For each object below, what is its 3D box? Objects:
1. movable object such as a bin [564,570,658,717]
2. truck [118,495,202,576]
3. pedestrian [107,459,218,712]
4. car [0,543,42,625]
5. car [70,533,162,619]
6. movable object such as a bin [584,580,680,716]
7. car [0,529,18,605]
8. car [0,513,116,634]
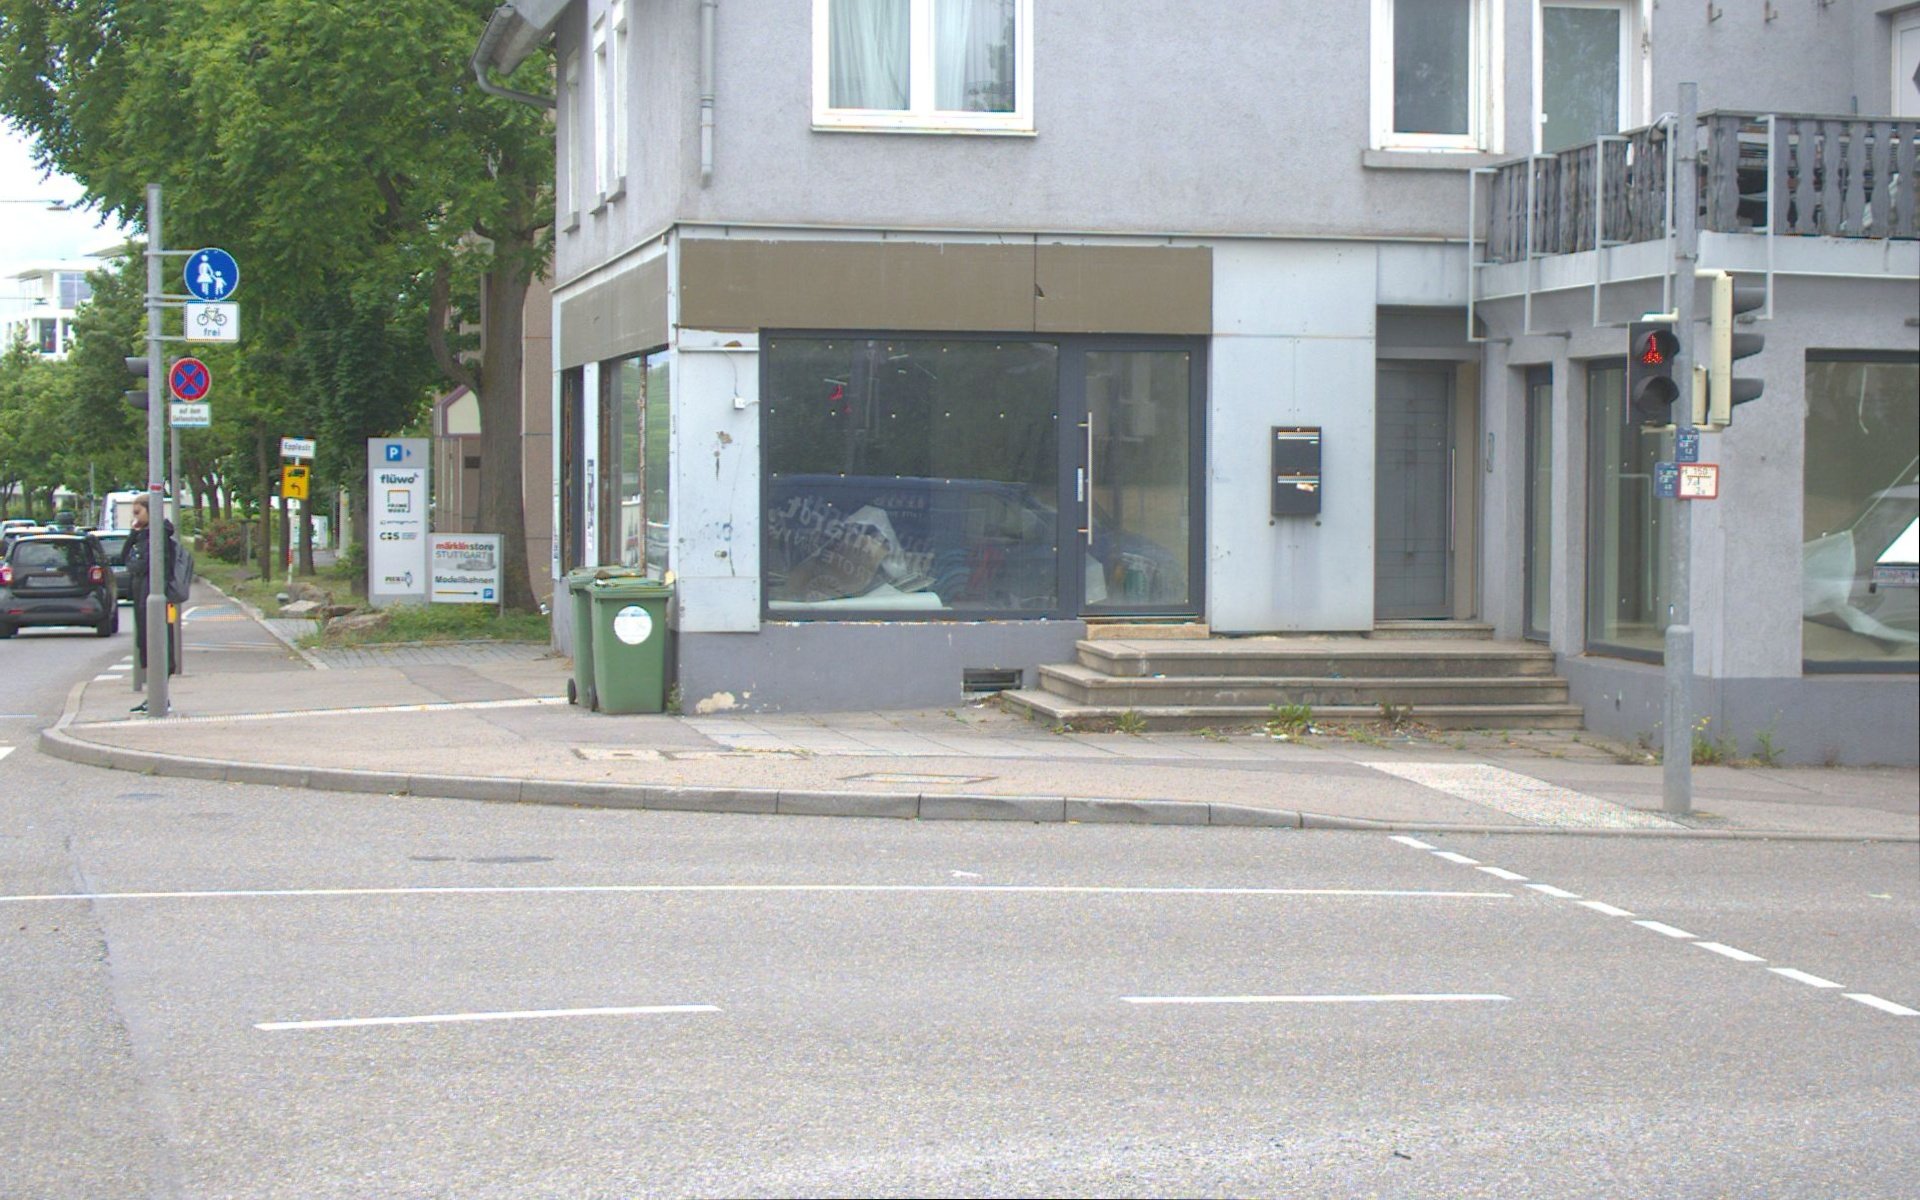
[{"bbox_3d":[-2.651,0.323,26.103,0.597,1.097,0.573,0,1,-18],"label":"movable object such as a bin"},{"bbox_3d":[-22.645,-1.814,97.487,1.993,2.158,5.561,2,0,-10],"label":"truck"},{"bbox_3d":[-6.431,-0.125,27.751,0.771,2.007,0.877,0,1,-6],"label":"pedestrian"},{"bbox_3d":[-24.920,-0.446,88.836,1.993,2.007,4.001,1,1,-19],"label":"car"},{"bbox_3d":[-17.333,-0.516,70.719,1.746,1.717,4.001,0,1,-13],"label":"car"},{"bbox_3d":[-2.440,0.349,25.535,0.597,0.984,0.573,0,1,-18],"label":"movable object such as a bin"},{"bbox_3d":[-20.918,-0.654,72.230,1.868,1.481,4.001,-1,0,-19],"label":"car"},{"bbox_3d":[-13.477,-0.415,51.220,1.746,1.717,4.001,0,1,-14],"label":"car"}]
